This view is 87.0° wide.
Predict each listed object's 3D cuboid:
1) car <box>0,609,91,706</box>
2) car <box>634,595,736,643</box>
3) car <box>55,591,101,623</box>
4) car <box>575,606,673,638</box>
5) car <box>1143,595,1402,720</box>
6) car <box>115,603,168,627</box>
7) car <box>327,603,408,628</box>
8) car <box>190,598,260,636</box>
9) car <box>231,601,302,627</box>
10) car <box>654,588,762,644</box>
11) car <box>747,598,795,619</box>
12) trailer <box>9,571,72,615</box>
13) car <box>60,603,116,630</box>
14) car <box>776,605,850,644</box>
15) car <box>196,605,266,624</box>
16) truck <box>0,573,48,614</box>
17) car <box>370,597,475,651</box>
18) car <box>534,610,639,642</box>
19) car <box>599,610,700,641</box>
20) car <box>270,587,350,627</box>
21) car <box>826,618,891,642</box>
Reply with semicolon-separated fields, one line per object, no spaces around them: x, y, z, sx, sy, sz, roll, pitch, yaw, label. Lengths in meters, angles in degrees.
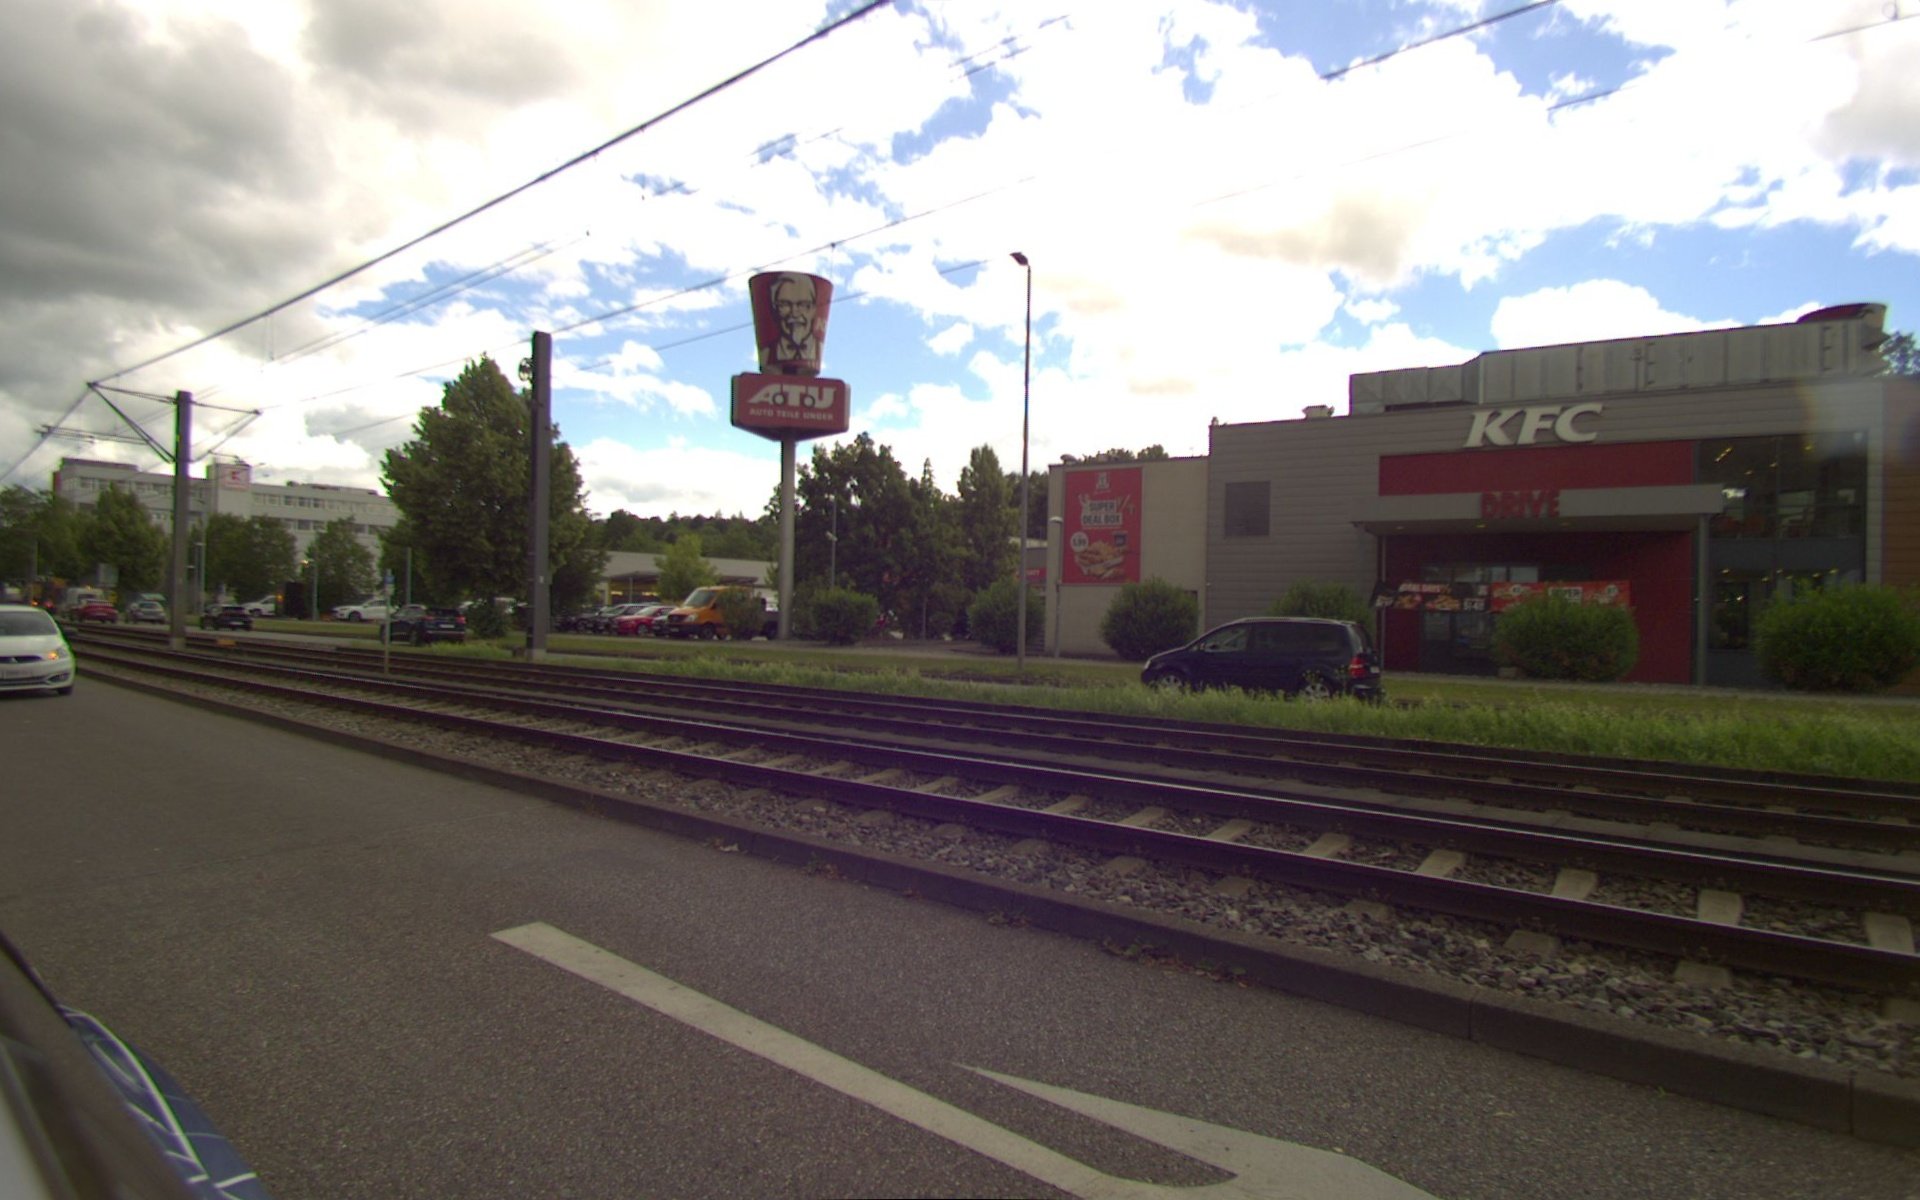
-16.194;0.904;16.950;3.995;1.455;1.765;0;1;39;car
-12.143;0.801;44.833;1.998;1.932;3.947;0;1;40;car
-72.745;0.576;83.421;5.994;2.518;1.850;0;-3;40;car
-15.921;1.007;48.078;2.092;1.377;3.947;0;1;40;car
5.645;0.965;18.433;4.099;2.029;1.975;0;-2;36;car
-55.226;1.023;68.284;3.996;1.494;1.973;0;-3;40;car
-40.320;1.018;68.935;1.793;1.518;4.428;0;1;37;car
-41.012;0.945;56.421;3.993;2.029;1.975;0;-3;36;car
-55.085;1.054;80.441;2.000;1.933;4.298;0;1;43;car
-10.496;0.613;42.367;2.057;2.182;3.947;0;1;40;car
-15.511;0.708;83.314;1.721;1.634;3.693;0;1;38;car
-89.297;-0.639;98.169;14.417;3.926;2.643;0;-3;41;trailer
-55.369;1.015;64.242;4.475;1.594;1.766;0;-3;38;car
-8.123;1.325;56.105;1.949;2.029;3.693;0;1;38;car
-62.314;1.218;86.509;2.000;1.504;4.550;0;1;43;car
-98.015;-0.604;105.687;8.625;3.997;2.862;0;-2;41;truck
-21.085;0.922;39.653;4.239;2.029;1.975;0;-2;36;car
-18.238;1.241;49.514;2.194;1.364;4.330;0;1;40;car
-14.128;1.125;46.142;1.998;1.245;3.947;0;1;40;car
-47.738;0.542;74.384;2.287;2.769;4.424;0;-2;40;car
-6.217;1.866;62.077;1.949;1.400;3.692;0;-2;38;car
